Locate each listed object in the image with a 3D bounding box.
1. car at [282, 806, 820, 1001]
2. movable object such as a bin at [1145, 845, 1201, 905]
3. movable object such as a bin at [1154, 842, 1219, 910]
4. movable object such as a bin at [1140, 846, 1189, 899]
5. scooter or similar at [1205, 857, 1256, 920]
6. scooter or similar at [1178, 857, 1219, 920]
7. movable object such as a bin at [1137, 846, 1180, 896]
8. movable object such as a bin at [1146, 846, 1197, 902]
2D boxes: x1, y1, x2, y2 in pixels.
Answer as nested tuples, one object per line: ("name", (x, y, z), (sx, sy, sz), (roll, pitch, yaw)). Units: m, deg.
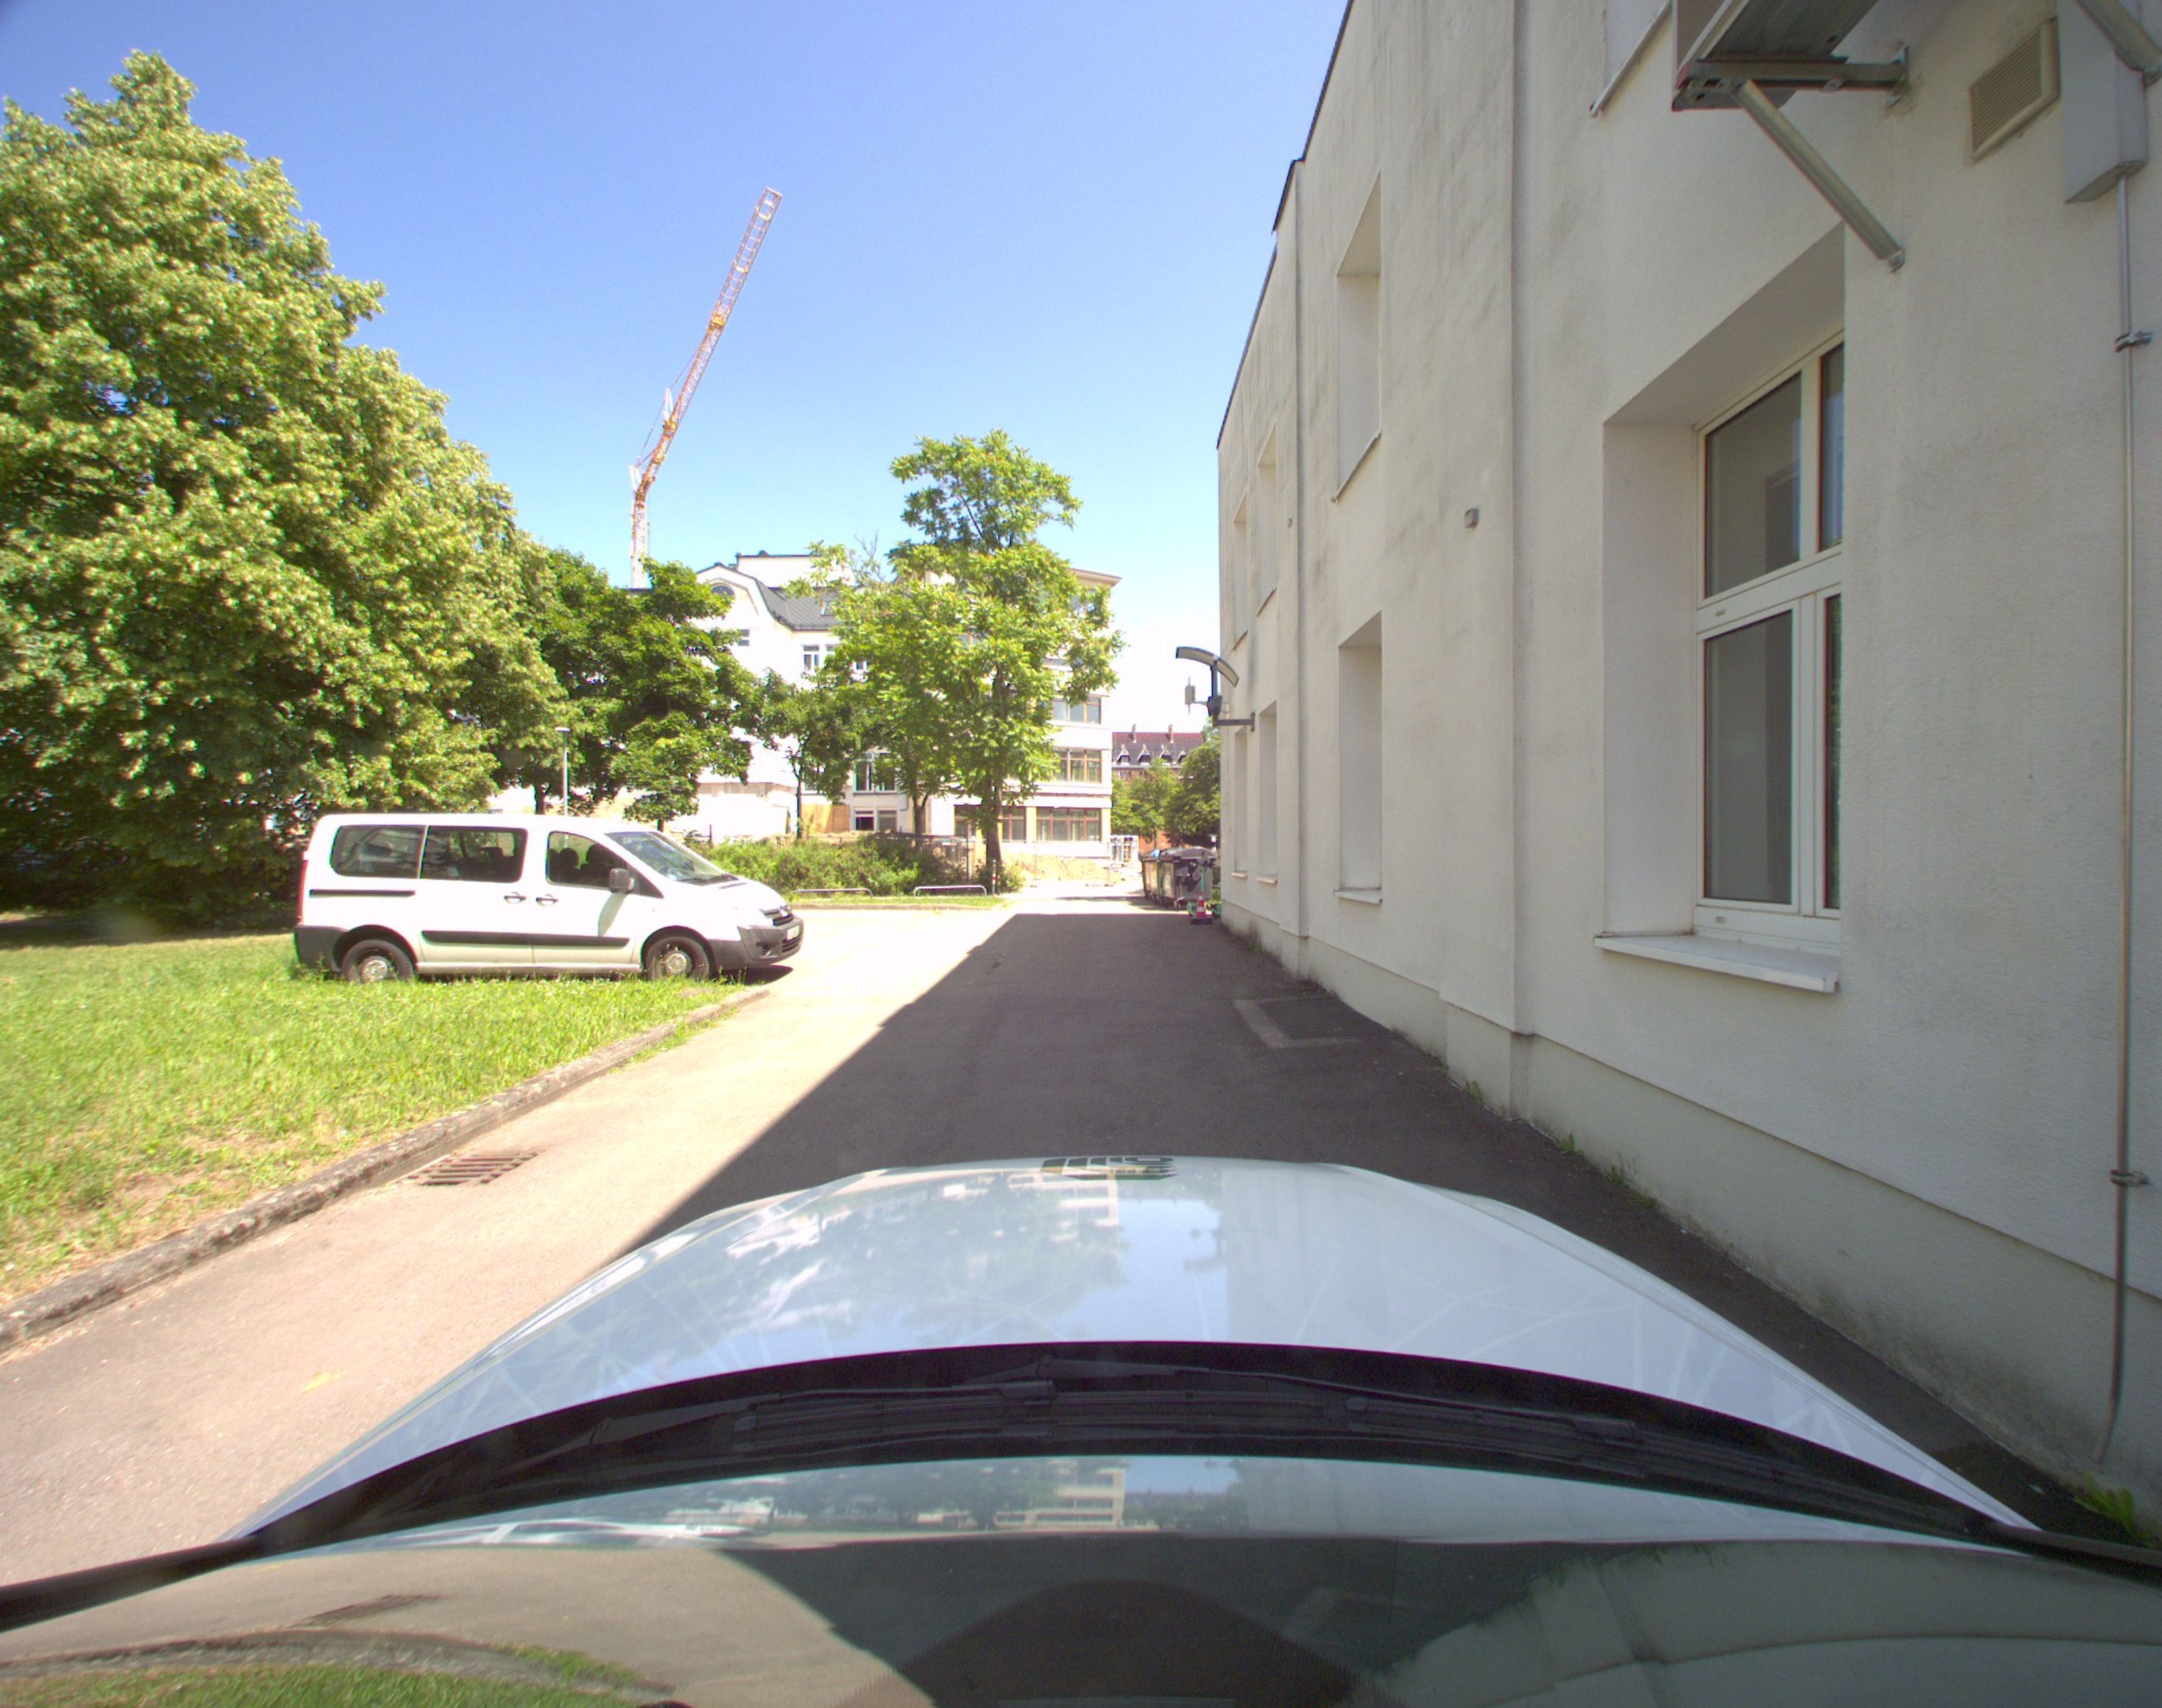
("car", (-5.728, 0.474, 9.413), (4.779, 1.911, 1.997), (-1, 1, -5))
("movable object such as a bin", (2.305, 0.514, 20.595), (1.177, 1.470, 1.309), (0, -1, -5))
("movable object such as a bin", (2.422, 0.492, 18.860), (1.154, 1.505, 1.458), (0, -1, -8))
("movable object such as a bin", (2.383, 0.523, 23.421), (1.177, 1.470, 1.309), (0, -1, -5))
("scooter or similar", (2.911, 0.656, 15.929), (0.464, 1.174, 1.249), (0, 0, -16))
("scooter or similar", (2.299, 0.654, 16.069), (0.463, 1.174, 1.353), (0, 0, -7))
("movable object such as a bin", (2.393, 0.520, 24.961), (1.171, 1.470, 1.337), (0, -1, 12))
("movable object such as a bin", (2.431, 0.531, 21.979), (1.176, 1.470, 1.310), (0, -1, -3))
